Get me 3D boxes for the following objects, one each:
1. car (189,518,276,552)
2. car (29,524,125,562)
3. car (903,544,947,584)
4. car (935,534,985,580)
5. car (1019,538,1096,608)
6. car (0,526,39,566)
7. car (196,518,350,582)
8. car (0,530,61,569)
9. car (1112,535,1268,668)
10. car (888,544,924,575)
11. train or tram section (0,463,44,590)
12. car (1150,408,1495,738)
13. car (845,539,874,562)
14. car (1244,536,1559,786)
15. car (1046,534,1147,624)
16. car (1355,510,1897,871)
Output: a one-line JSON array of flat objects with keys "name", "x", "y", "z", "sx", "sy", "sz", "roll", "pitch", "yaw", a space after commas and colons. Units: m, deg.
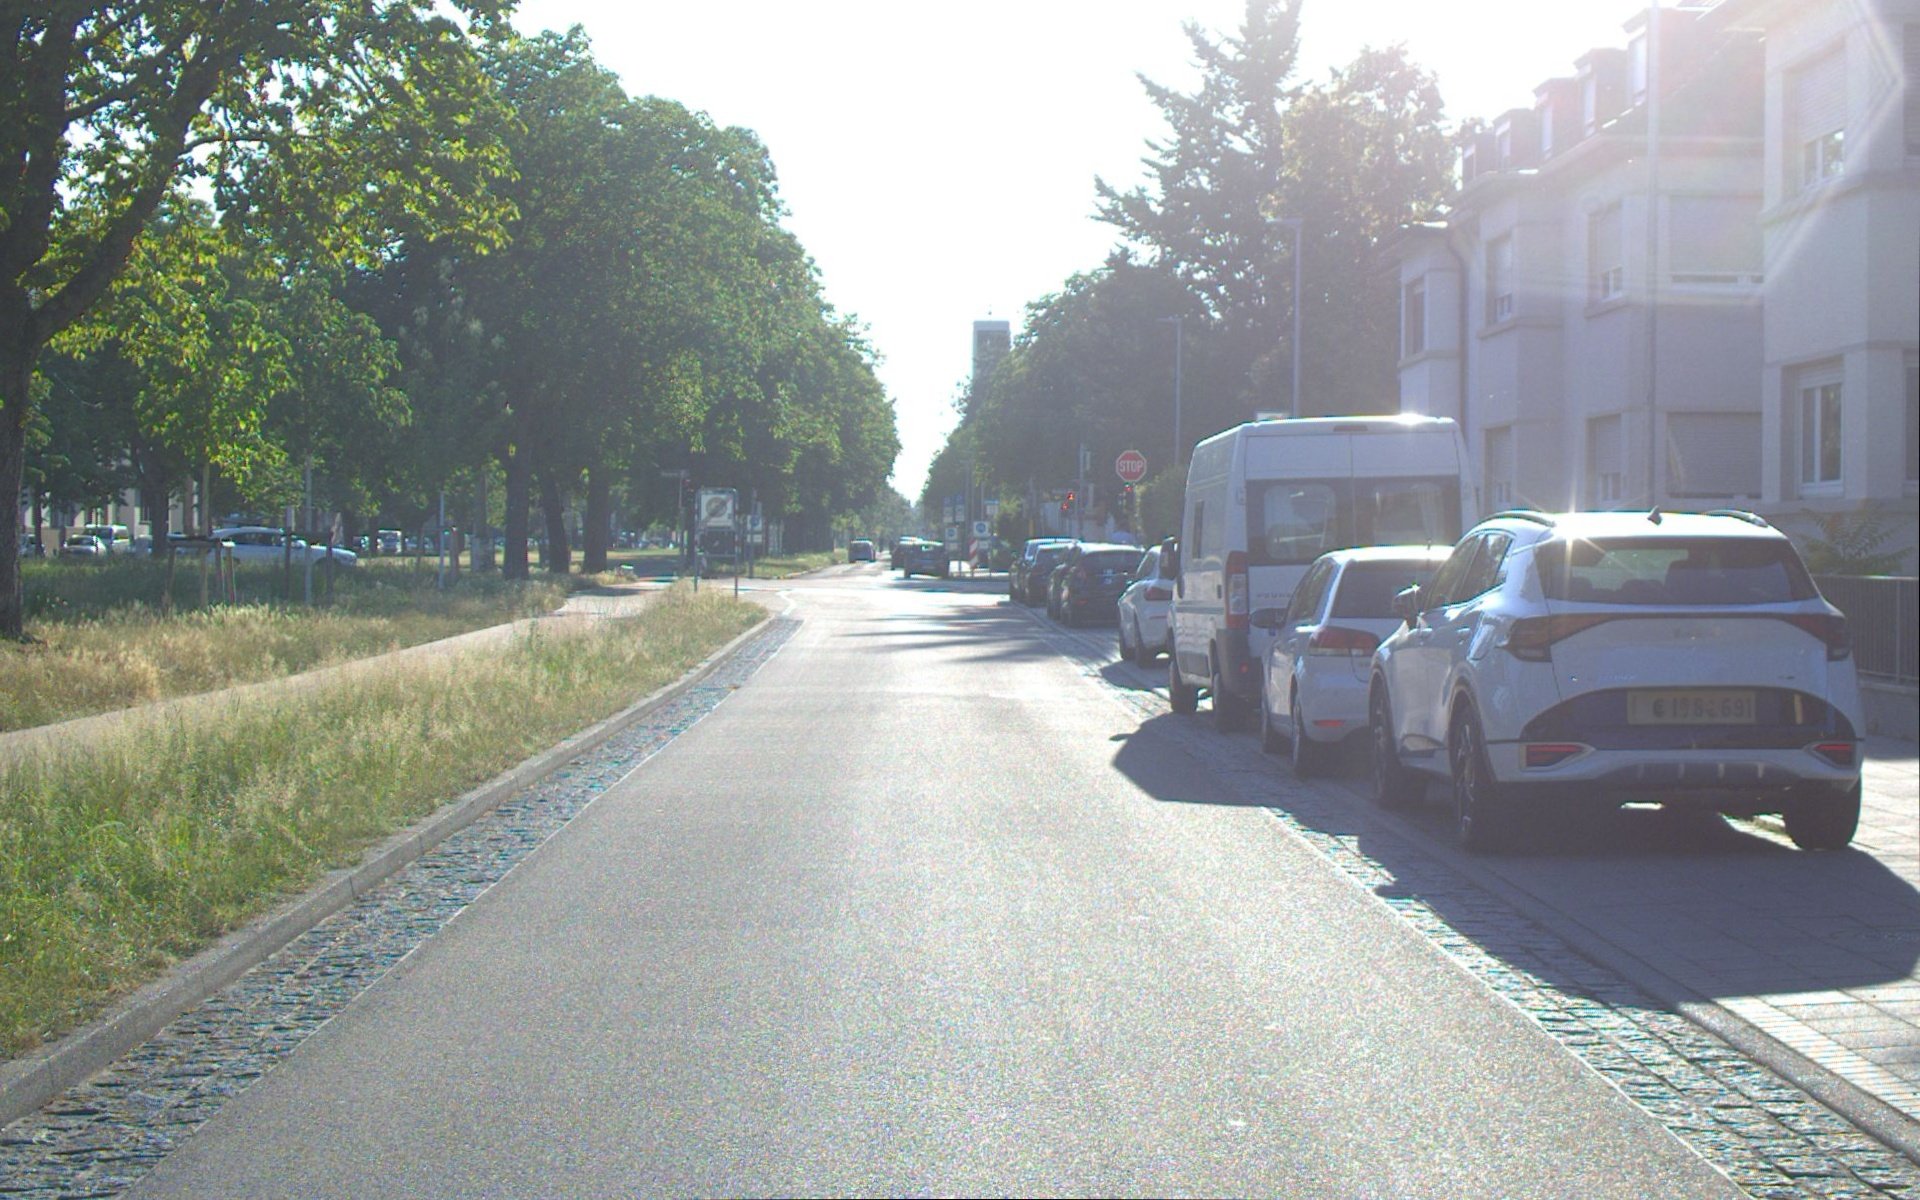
[{"name": "car", "x": -40.193, "y": -3.591, "z": 190.006, "sx": 4.346, "sy": 1.758, "sz": 2.000, "roll": 2, "pitch": 0, "yaw": 0}, {"name": "car", "x": -45.413, "y": -2.924, "z": 176.889, "sx": 4.346, "sy": 1.758, "sz": 2.000, "roll": 2, "pitch": 0, "yaw": 0}, {"name": "car", "x": -1.356, "y": -1.422, "z": 134.860, "sx": 1.650, "sy": 1.525, "sz": 3.851, "roll": 0, "pitch": 1, "yaw": 0}, {"name": "car", "x": 0.017, "y": -1.474, "z": 116.673, "sx": 1.650, "sy": 1.525, "sz": 3.851, "roll": 0, "pitch": 1, "yaw": 0}, {"name": "car", "x": 2.180, "y": -0.628, "z": 77.735, "sx": 1.650, "sy": 1.525, "sz": 3.851, "roll": 0, "pitch": 1, "yaw": 0}, {"name": "car", "x": -44.474, "y": -2.494, "z": 156.748, "sx": 4.346, "sy": 1.758, "sz": 2.000, "roll": 2, "pitch": 0, "yaw": 0}, {"name": "car", "x": -20.349, "y": -1.481, "z": 102.025, "sx": 4.345, "sy": 1.758, "sz": 2.001, "roll": 2, "pitch": 0, "yaw": -9}, {"name": "car", "x": -44.992, "y": -2.411, "z": 162.696, "sx": 4.346, "sy": 1.758, "sz": 2.000, "roll": 2, "pitch": 0, "yaw": 0}, {"name": "car", "x": 2.744, "y": -0.022, "z": 41.650, "sx": 1.650, "sy": 1.525, "sz": 3.851, "roll": 0, "pitch": 1, "yaw": 0}, {"name": "car", "x": -2.639, "y": -1.999, "z": 168.909, "sx": 1.650, "sy": 1.525, "sz": 3.851, "roll": 0, "pitch": 1, "yaw": 0}, {"name": "train or tram section", "x": -39.350, "y": -2.645, "z": 108.525, "sx": 19.777, "sy": 3.943, "sz": 3.645, "roll": 2, "pitch": 0, "yaw": -10}, {"name": "car", "x": 2.935, "y": -0.262, "z": 29.033, "sx": 2.126, "sy": 2.524, "sz": 5.189, "roll": 0, "pitch": 1, "yaw": -3}, {"name": "car", "x": -6.765, "y": -3.338, "z": 231.877, "sx": 1.810, "sy": 1.525, "sz": 3.851, "roll": 0, "pitch": 1, "yaw": 0}, {"name": "car", "x": 2.890, "y": 0.344, "z": 23.174, "sx": 1.650, "sy": 1.525, "sz": 3.851, "roll": 0, "pitch": 1, "yaw": 0}, {"name": "car", "x": 2.392, "y": -0.400, "z": 60.871, "sx": 1.650, "sy": 1.525, "sz": 3.851, "roll": 0, "pitch": 1, "yaw": 0}, {"name": "car", "x": 3.271, "y": 0.366, "z": 17.698, "sx": 1.837, "sy": 1.630, "sz": 4.132, "roll": 0, "pitch": 1, "yaw": -2}]
